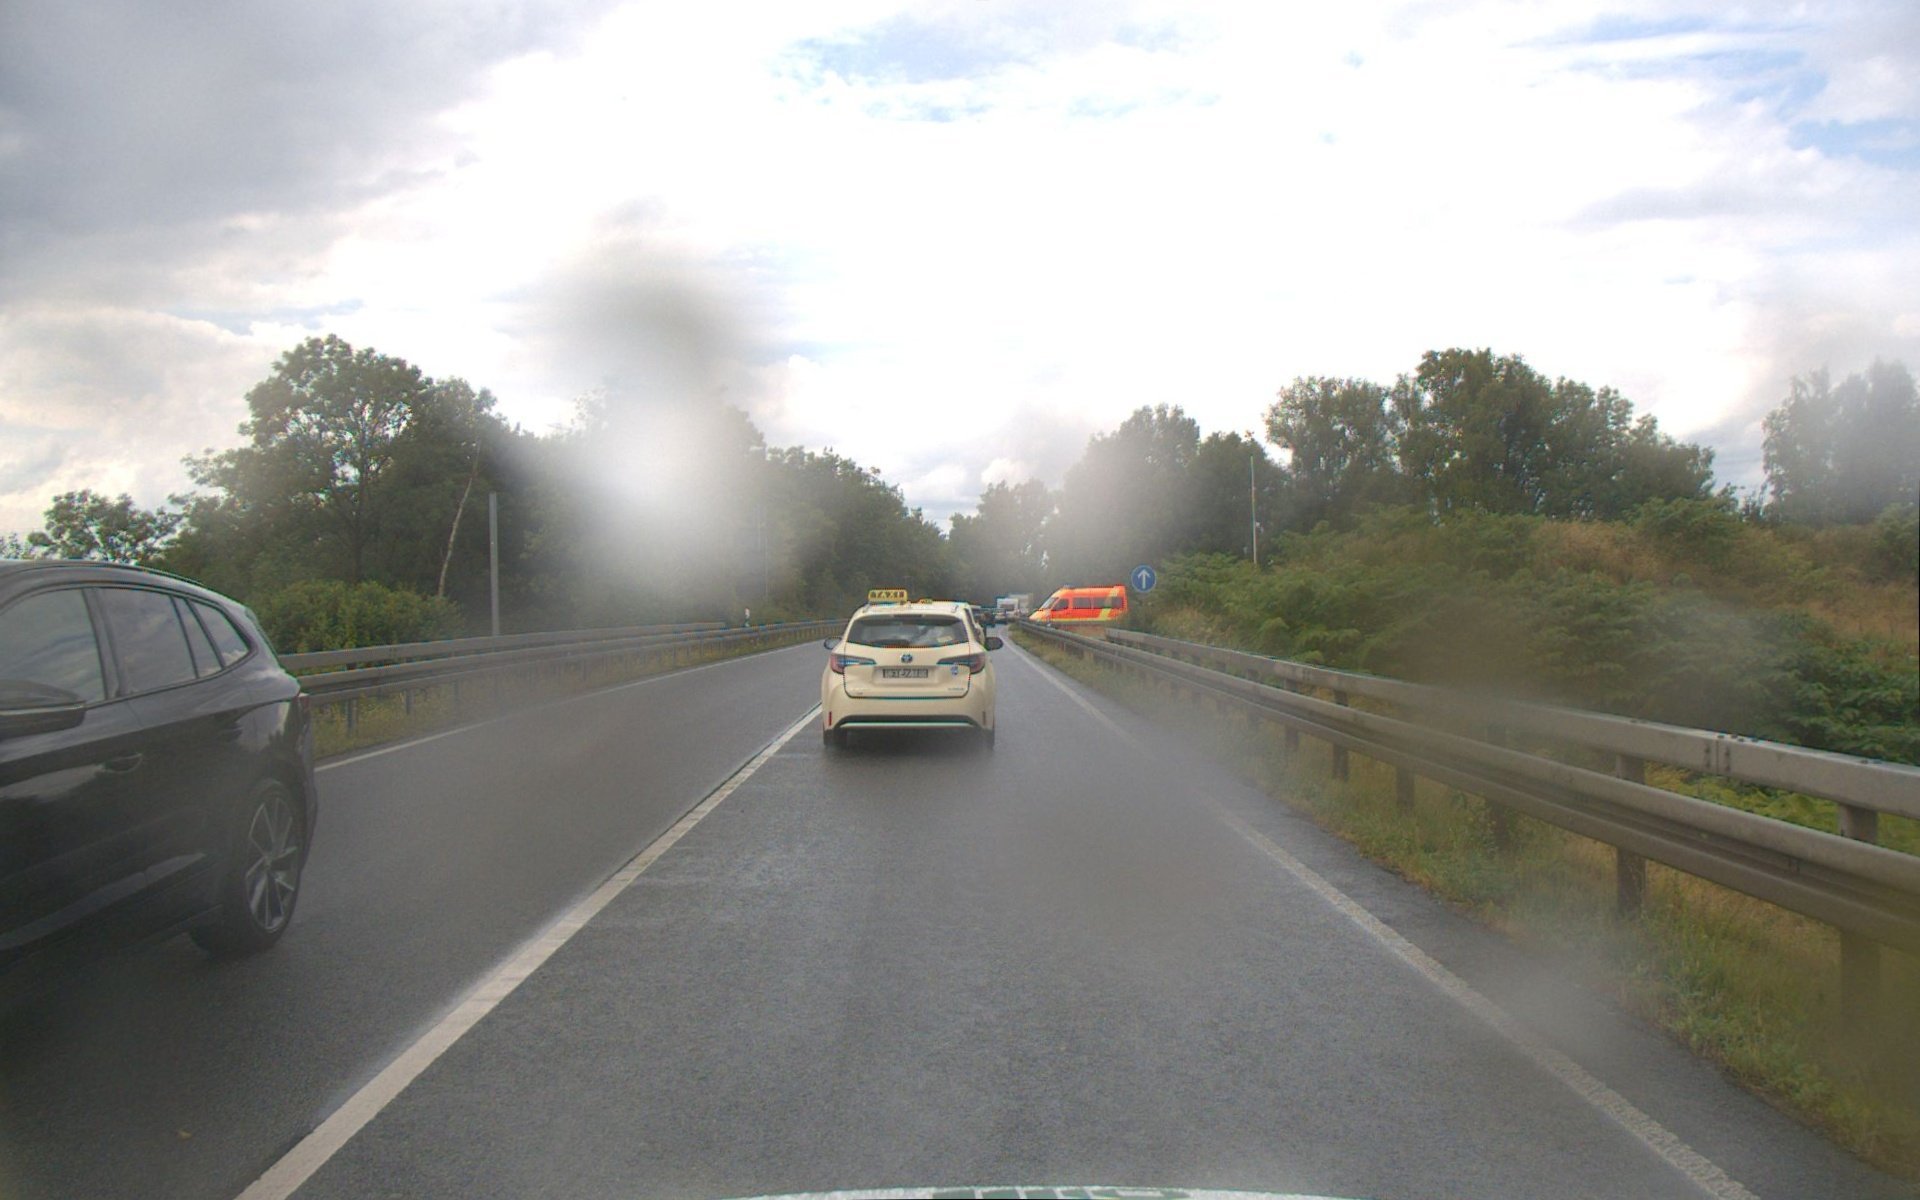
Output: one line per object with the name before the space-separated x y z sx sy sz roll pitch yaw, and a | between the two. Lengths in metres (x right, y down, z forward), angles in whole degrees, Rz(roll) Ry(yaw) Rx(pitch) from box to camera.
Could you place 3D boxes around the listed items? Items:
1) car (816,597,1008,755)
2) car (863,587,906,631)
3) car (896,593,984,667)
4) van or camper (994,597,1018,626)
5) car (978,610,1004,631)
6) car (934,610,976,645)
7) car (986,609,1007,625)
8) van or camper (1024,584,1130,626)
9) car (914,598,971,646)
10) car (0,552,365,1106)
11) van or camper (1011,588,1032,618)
car | -0.500 0.720 17.766 1.817 1.418 4.170 0 1 -1
car | -3.858 0.436 85.274 1.953 2.165 4.894 0 0 0
car | -0.463 0.624 36.465 1.817 1.468 4.170 0 1 -1
van or camper | 4.845 1.179 174.391 2.285 2.914 6.306 0 0 0
car | 2.366 1.526 125.373 1.816 1.468 4.172 0 0 2
car | -0.266 1.232 75.862 1.817 1.468 4.170 0 1 -1
car | 3.377 1.564 153.075 1.816 1.468 4.172 0 0 2
van or camper | 6.540 0.289 92.350 5.585 2.280 2.012 0 0 -16
car | -0.615 0.694 55.399 1.817 1.468 4.170 0 1 -1
car | -3.636 0.644 5.604 1.743 1.588 4.301 0 0 -1
van or camper | 7.431 0.353 200.265 2.285 3.625 6.306 0 0 0
